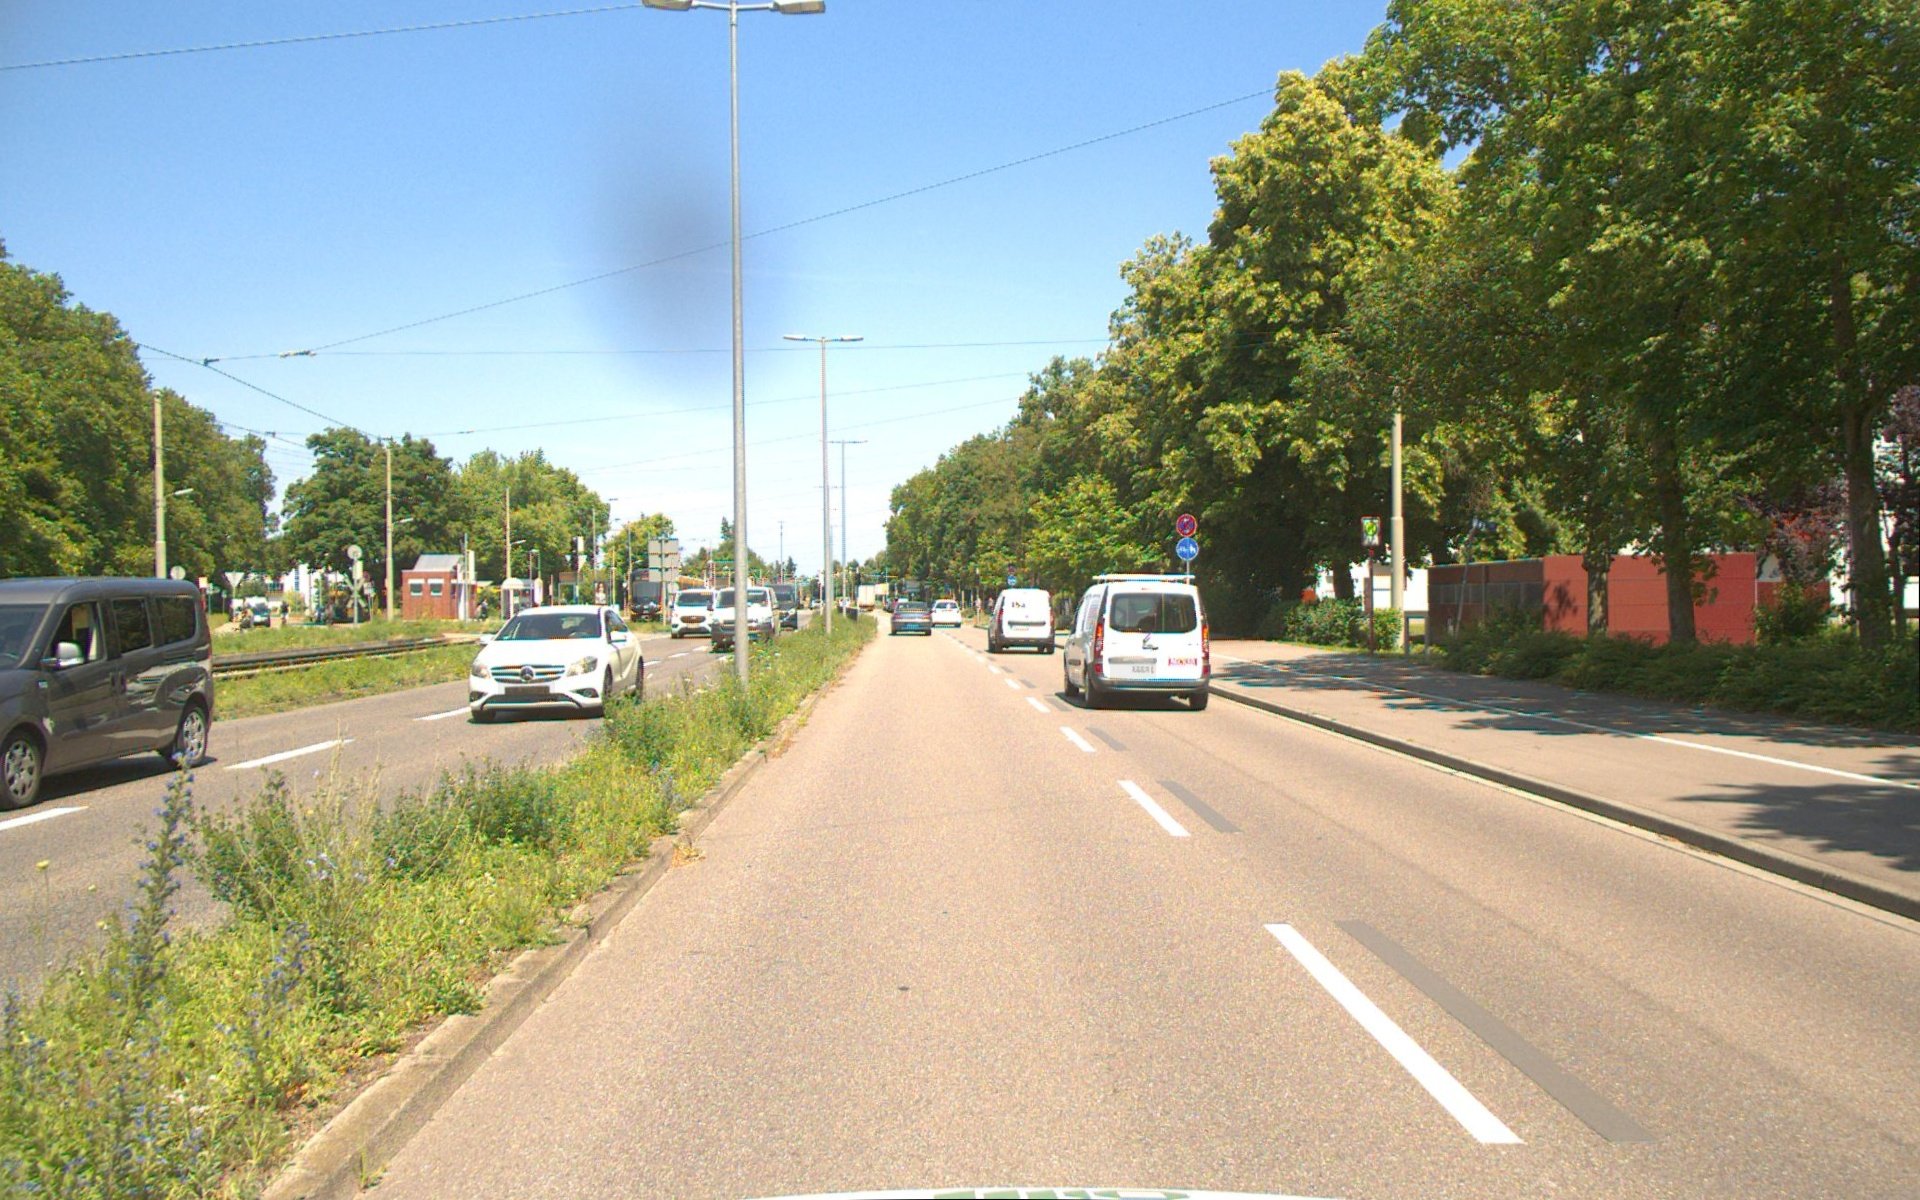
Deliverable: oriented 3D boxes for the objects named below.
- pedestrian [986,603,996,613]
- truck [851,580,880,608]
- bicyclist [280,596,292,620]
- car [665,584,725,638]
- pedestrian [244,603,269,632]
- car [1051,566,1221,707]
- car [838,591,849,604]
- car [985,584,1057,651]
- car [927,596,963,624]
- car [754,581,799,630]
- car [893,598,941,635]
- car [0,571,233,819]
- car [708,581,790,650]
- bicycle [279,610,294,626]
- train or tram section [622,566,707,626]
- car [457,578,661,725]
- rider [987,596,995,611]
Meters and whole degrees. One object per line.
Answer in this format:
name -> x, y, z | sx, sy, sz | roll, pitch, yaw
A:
pedestrian -> 2.677, 0.711, 141.871 | 0.665, 0.862, 1.772 | 0, 0, -5
truck -> -13.825, -0.862, 240.100 | 3.823, 3.879, 10.781 | -1, 0, -5
bicyclist -> -39.215, 0.463, 96.196 | 0.498, 1.359, 0.679 | 0, 0, -10
car -> -11.027, 0.437, 69.087 | 1.851, 2.052, 5.079 | -3, 0, -3
pedestrian -> -42.523, 1.075, 99.956 | 0.508, 1.731, 1.264 | -1, 0, 40
car -> 2.533, 0.494, 24.826 | 1.788, 1.915, 4.452 | 0, 0, -4
car -> -18.057, -0.339, 256.014 | 1.655, 1.930, 3.866 | -1, 0, -5
car -> 1.720, 0.460, 47.860 | 1.693, 1.845, 3.997 | 1, 0, -4
car -> -0.865, 0.558, 93.848 | 1.768, 1.567, 3.996 | 0, 0, -5
car -> -9.407, 0.263, 85.166 | 1.954, 2.407, 5.369 | -2, 0, -3
car -> -1.840, 0.672, 69.681 | 1.767, 1.512, 3.996 | 0, 0, -5
car -> -8.102, 0.731, 14.196 | 1.793, 1.833, 4.612 | -2, 0, -3
car -> -6.443, 0.448, 50.997 | 1.793, 1.939, 5.565 | -2, 0, -1
bicycle -> -39.208, 1.070, 96.343 | 0.498, 0.917, 1.562 | 0, 0, -10
train or tram section -> -21.514, -0.250, 123.013 | 2.733, 3.732, 37.479 | 0, 0, -5
car -> -5.393, 0.640, 22.763 | 1.793, 1.769, 4.037 | -2, 0, -1
rider -> 2.676, 0.324, 141.865 | 0.665, 1.304, 0.533 | 0, 0, -5
